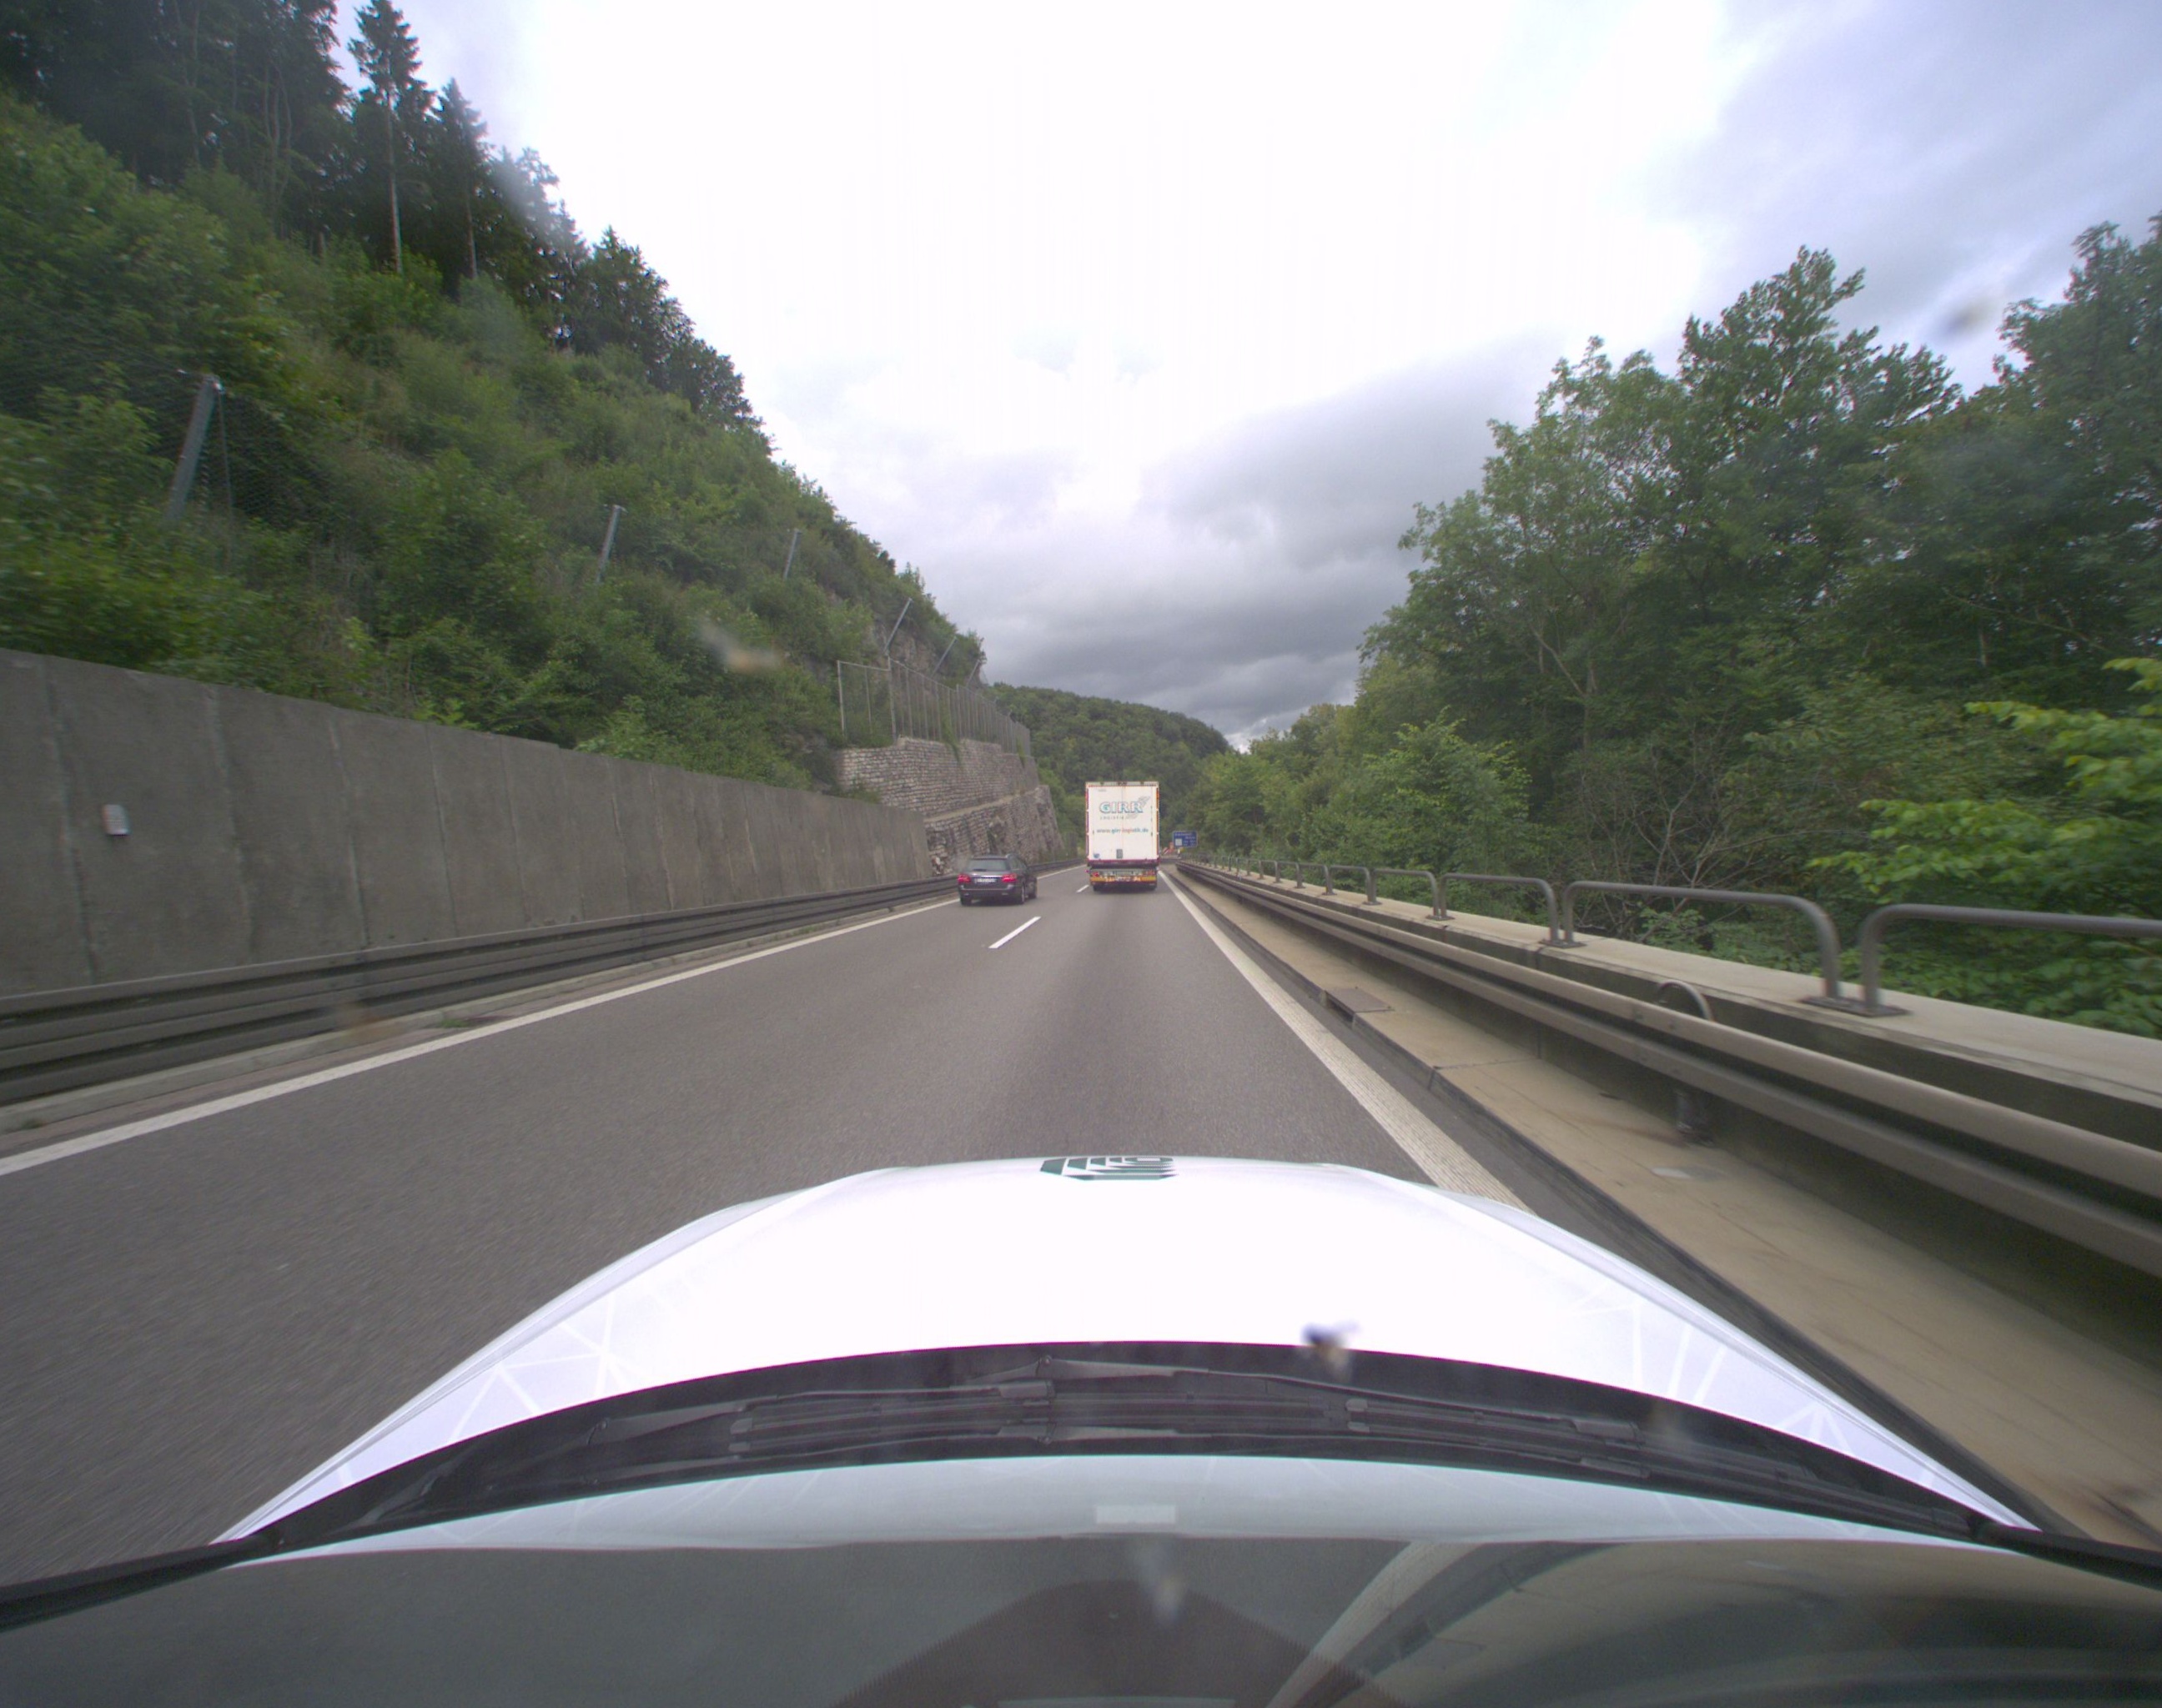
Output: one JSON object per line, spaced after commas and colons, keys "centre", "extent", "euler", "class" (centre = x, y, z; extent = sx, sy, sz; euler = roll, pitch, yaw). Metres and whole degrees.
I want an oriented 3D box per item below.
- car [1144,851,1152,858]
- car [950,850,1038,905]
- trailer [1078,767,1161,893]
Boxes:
{"centre": [17.601, 0.062, 213.788], "extent": [1.982, 1.764, 4.009], "euler": [-1, 0, 8], "class": "car"}
{"centre": [-2.549, 0.659, 24.913], "extent": [1.875, 1.510, 4.424], "euler": [-1, 0, 4], "class": "car"}
{"centre": [1.850, -0.803, 34.363], "extent": [2.800, 4.302, 12.260], "euler": [-1, 0, 5], "class": "trailer"}
